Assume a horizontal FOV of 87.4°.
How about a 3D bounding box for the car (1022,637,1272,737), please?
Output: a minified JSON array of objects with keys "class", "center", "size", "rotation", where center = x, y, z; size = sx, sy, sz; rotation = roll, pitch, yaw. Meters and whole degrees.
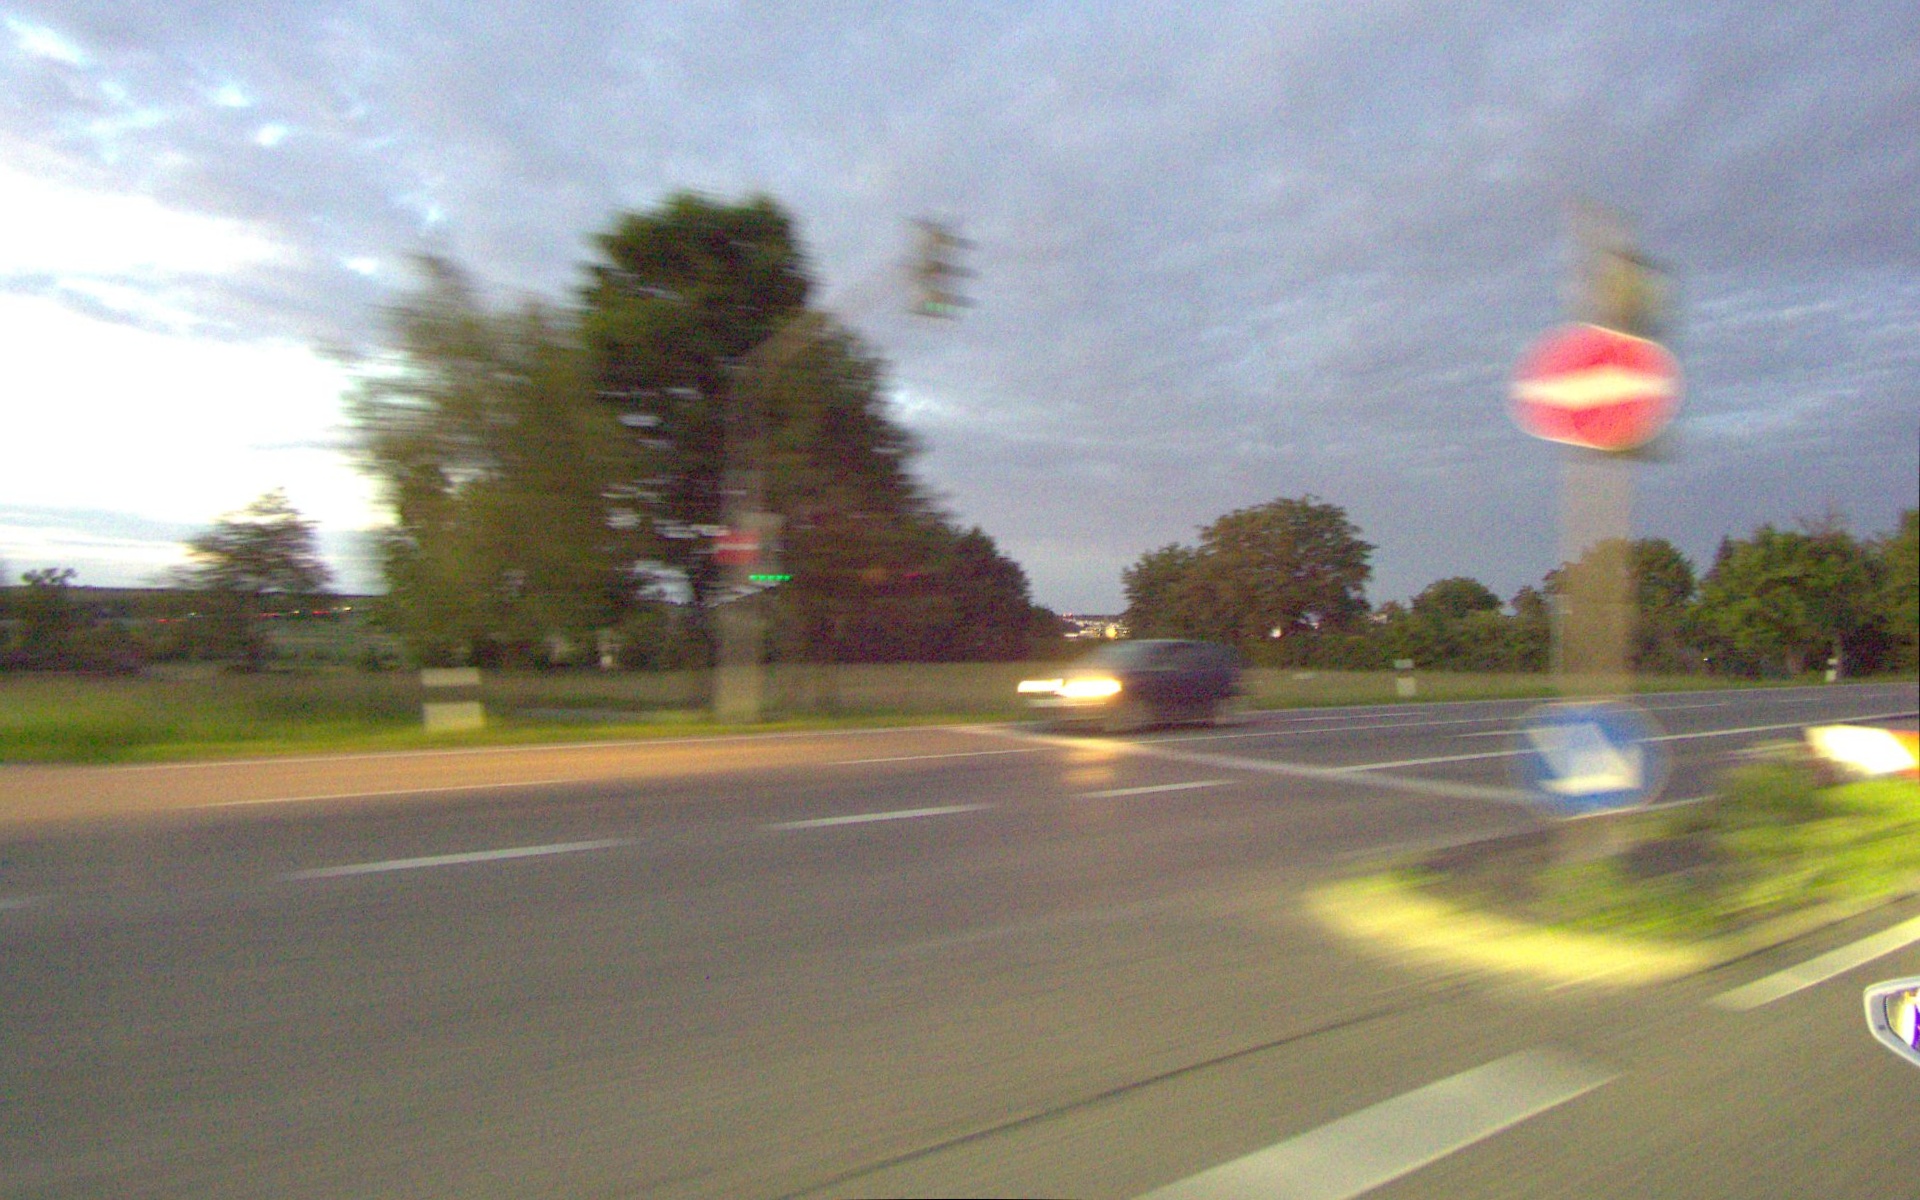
[{"class":"car","center":[3.130,1.379,16.524],"size":[3.987,1.403,1.642],"rotation":[3,-1,-33]}]
